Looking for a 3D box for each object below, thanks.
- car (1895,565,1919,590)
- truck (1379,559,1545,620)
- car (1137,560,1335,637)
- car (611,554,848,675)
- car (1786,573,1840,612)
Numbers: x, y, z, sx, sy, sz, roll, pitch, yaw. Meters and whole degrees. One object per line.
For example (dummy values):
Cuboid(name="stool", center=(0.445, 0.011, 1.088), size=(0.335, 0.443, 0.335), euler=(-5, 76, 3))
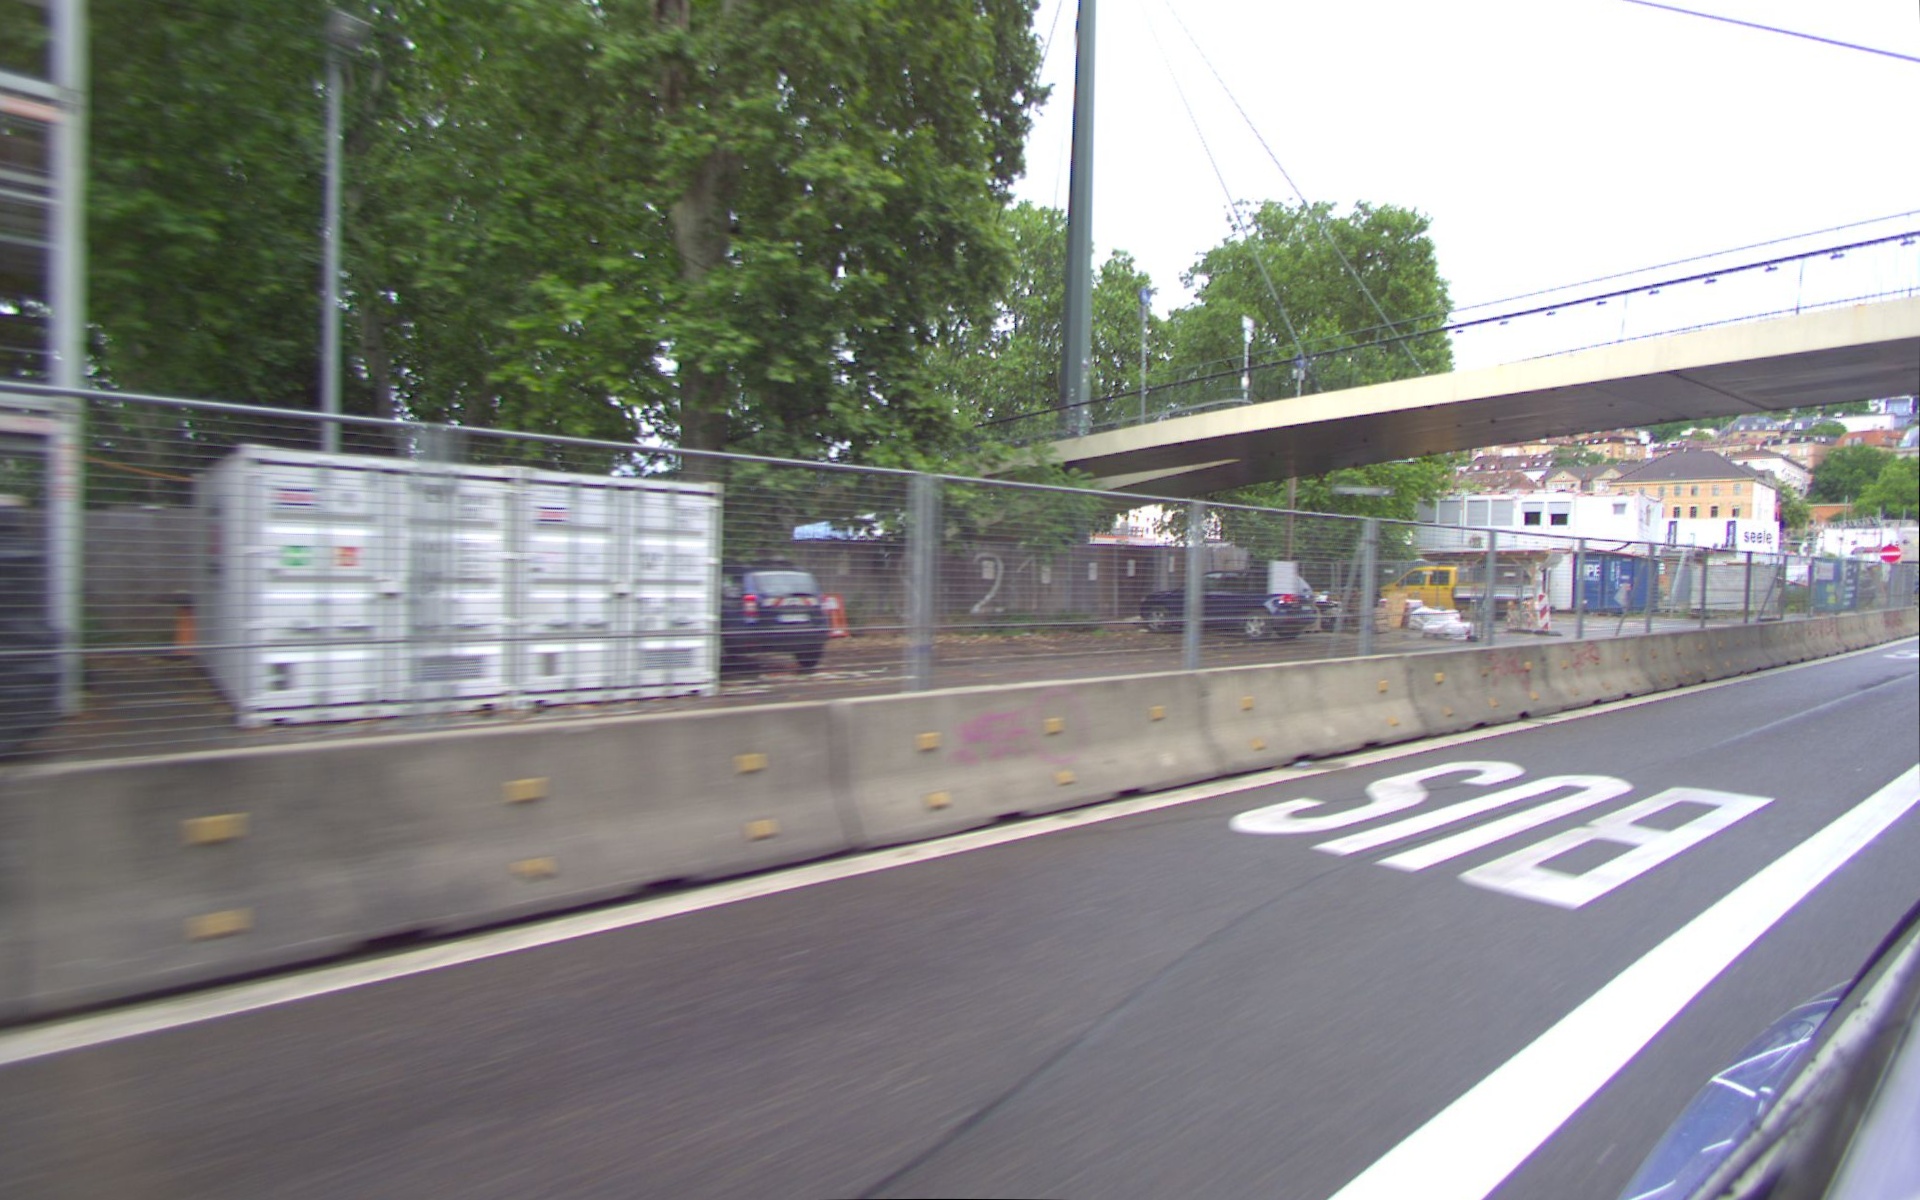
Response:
Cuboid(name="car", center=(59.056, -1.378, 62.024), size=(4.332, 1.459, 1.838), euler=(-2, 2, -37))
Cuboid(name="truck", center=(18.945, -0.480, 38.362), size=(5.154, 2.038, 2.372), euler=(3, 5, 44))
Cuboid(name="car", center=(6.946, -0.108, 25.799), size=(1.968, 1.749, 4.501), euler=(-1, 3, -45))
Cuboid(name="car", center=(-3.880, 0.136, 16.475), size=(1.757, 1.649, 4.550), euler=(1, 2, -42))
Cuboid(name="car", center=(43.256, -0.414, 51.280), size=(1.851, 1.501, 3.942), euler=(5, 9, 42))
